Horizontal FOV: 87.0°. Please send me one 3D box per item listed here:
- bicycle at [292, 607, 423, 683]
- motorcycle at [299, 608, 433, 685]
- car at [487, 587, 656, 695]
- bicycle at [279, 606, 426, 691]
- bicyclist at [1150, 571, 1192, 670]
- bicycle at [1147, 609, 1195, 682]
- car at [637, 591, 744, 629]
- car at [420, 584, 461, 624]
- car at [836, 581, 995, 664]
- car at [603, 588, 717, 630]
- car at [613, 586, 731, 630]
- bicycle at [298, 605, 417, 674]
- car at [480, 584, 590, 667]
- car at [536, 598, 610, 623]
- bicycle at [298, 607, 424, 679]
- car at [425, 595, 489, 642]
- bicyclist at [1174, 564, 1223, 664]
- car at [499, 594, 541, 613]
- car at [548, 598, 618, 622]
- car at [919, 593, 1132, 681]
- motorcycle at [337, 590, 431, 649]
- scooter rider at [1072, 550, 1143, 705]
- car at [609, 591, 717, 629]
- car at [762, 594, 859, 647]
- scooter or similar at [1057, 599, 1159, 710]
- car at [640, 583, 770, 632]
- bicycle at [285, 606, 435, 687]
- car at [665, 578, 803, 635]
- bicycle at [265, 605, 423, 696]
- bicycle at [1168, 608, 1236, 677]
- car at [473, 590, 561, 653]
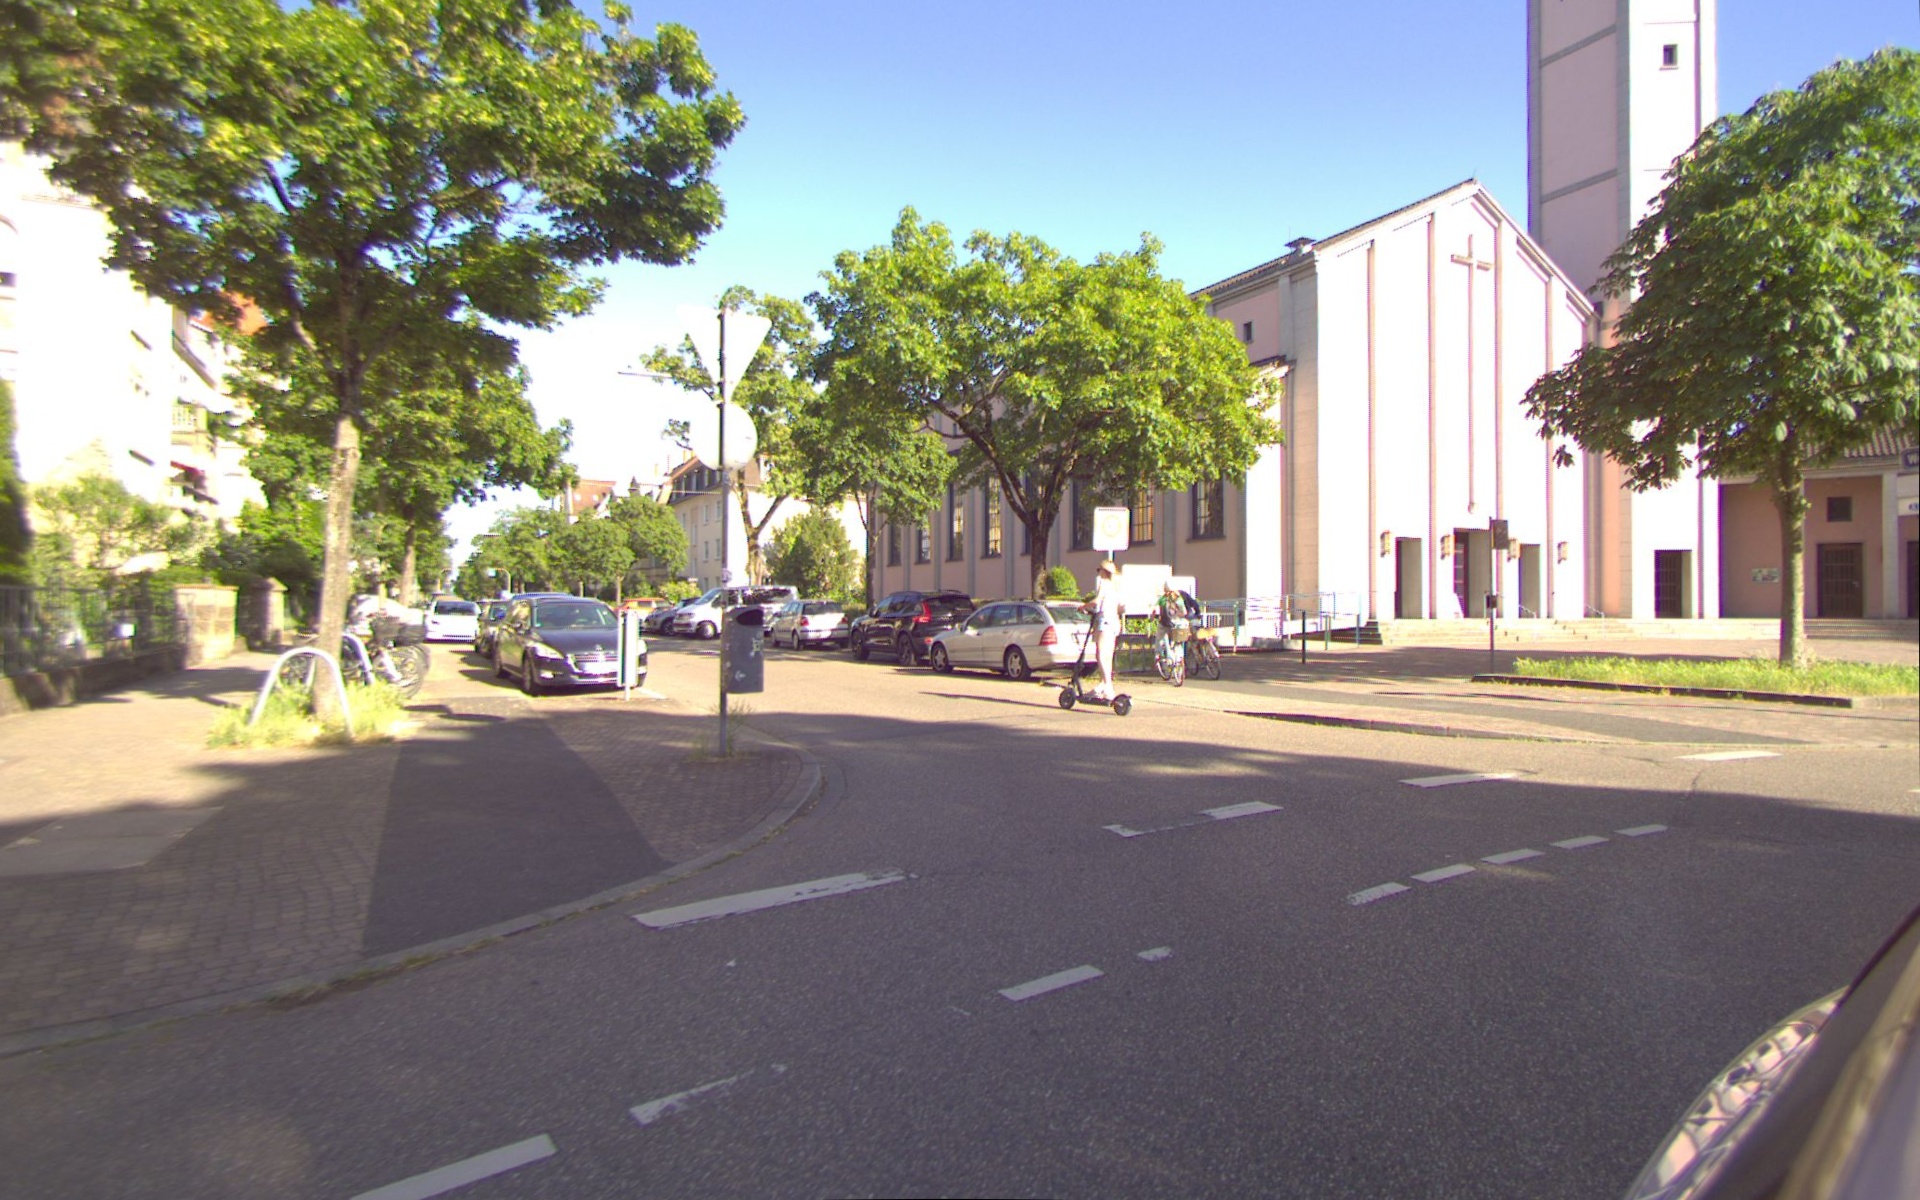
[{"bbox_3d":[-9.427,0.702,15.860,1.693,1.121,0.501,2,-1,-35],"label":"bicycle"},{"bbox_3d":[-9.058,0.702,15.459,1.693,1.121,0.501,2,-1,-35],"label":"motorcycle"},{"bbox_3d":[-6.664,0.586,17.073,1.775,1.502,4.340,-3,2,-33],"label":"car"},{"bbox_3d":[-8.415,0.670,14.093,1.691,1.129,0.547,2,-1,-28],"label":"bicycle"},{"bbox_3d":[3.508,0.330,16.902,0.585,1.601,0.803,1,0,7],"label":"bicyclist"},{"bbox_3d":[3.506,0.725,16.924,0.585,1.121,1.860,1,0,6],"label":"bicycle"},{"bbox_3d":[-11.174,0.423,42.016,3.921,1.529,1.801,1,-1,-32],"label":"car"},{"bbox_3d":[-27.313,0.174,53.145,1.773,1.954,4.405,-2,1,-28],"label":"car"},{"bbox_3d":[-1.148,0.483,23.546,1.774,1.750,4.341,1,-1,-32],"label":"car"},{"bbox_3d":[-13.726,0.426,46.386,4.683,1.865,1.812,1,-1,-29],"label":"car"},{"bbox_3d":[-12.659,0.383,44.561,4.683,1.865,1.812,1,-1,-29],"label":"car"},{"bbox_3d":[-10.245,0.678,17.253,1.692,1.121,0.516,2,-1,-31],"label":"bicycle"},{"bbox_3d":[-9.389,0.477,22.169,1.773,1.581,4.405,-2,1,-28],"label":"car"},{"bbox_3d":[-27.758,0.749,72.635,4.685,1.767,1.810,1,-1,-32],"label":"car"},{"bbox_3d":[-9.669,0.698,16.392,1.692,1.121,0.501,2,-1,-31],"label":"bicycle"},{"bbox_3d":[-17.150,0.569,34.405,1.773,1.414,4.405,-3,2,-28],"label":"car"},{"bbox_3d":[4.263,0.239,18.130,0.633,1.736,0.724,-1,0,-6],"label":"bicyclist"},{"bbox_3d":[-57.965,0.470,133.327,4.902,2.544,2.001,1,-1,-32],"label":"car"},{"bbox_3d":[-28.699,0.781,77.131,4.685,1.767,1.810,1,-1,-32],"label":"car"},{"bbox_3d":[1.078,0.615,18.914,1.774,1.434,4.341,1,-1,-32],"label":"car"},{"bbox_3d":[-14.904,0.502,26.264,0.941,1.448,2.277,2,-1,6],"label":"motorcycle"},{"bbox_3d":[1.824,0.328,12.505,0.629,1.855,0.616,0,-1,42],"label":"scooter rider"},{"bbox_3d":[-14.319,0.496,48.913,4.685,1.767,1.810,1,-1,-32],"label":"car"},{"bbox_3d":[-4.646,0.591,30.842,1.772,1.492,4.346,1,-1,-25],"label":"car"},{"bbox_3d":[1.821,0.644,12.500,1.102,1.299,0.623,0,0,42],"label":"scooter or similar"},{"bbox_3d":[-10.130,0.314,40.277,4.683,1.865,1.812,1,-1,-29],"label":"car"},{"bbox_3d":[-8.770,0.669,14.845,1.799,1.121,0.500,2,-1,-44],"label":"bicycle"},{"bbox_3d":[-8.394,0.250,37.808,4.685,2.027,1.810,1,-1,-32],"label":"car"},{"bbox_3d":[-8.003,0.653,13.234,1.691,1.129,0.547,2,-1,-28],"label":"bicycle"},{"bbox_3d":[4.278,0.724,18.027,0.633,1.121,1.719,-1,0,-6],"label":"bicycle"},{"bbox_3d":[-11.863,0.498,26.963,1.773,1.468,4.405,-3,2,-28],"label":"car"}]
